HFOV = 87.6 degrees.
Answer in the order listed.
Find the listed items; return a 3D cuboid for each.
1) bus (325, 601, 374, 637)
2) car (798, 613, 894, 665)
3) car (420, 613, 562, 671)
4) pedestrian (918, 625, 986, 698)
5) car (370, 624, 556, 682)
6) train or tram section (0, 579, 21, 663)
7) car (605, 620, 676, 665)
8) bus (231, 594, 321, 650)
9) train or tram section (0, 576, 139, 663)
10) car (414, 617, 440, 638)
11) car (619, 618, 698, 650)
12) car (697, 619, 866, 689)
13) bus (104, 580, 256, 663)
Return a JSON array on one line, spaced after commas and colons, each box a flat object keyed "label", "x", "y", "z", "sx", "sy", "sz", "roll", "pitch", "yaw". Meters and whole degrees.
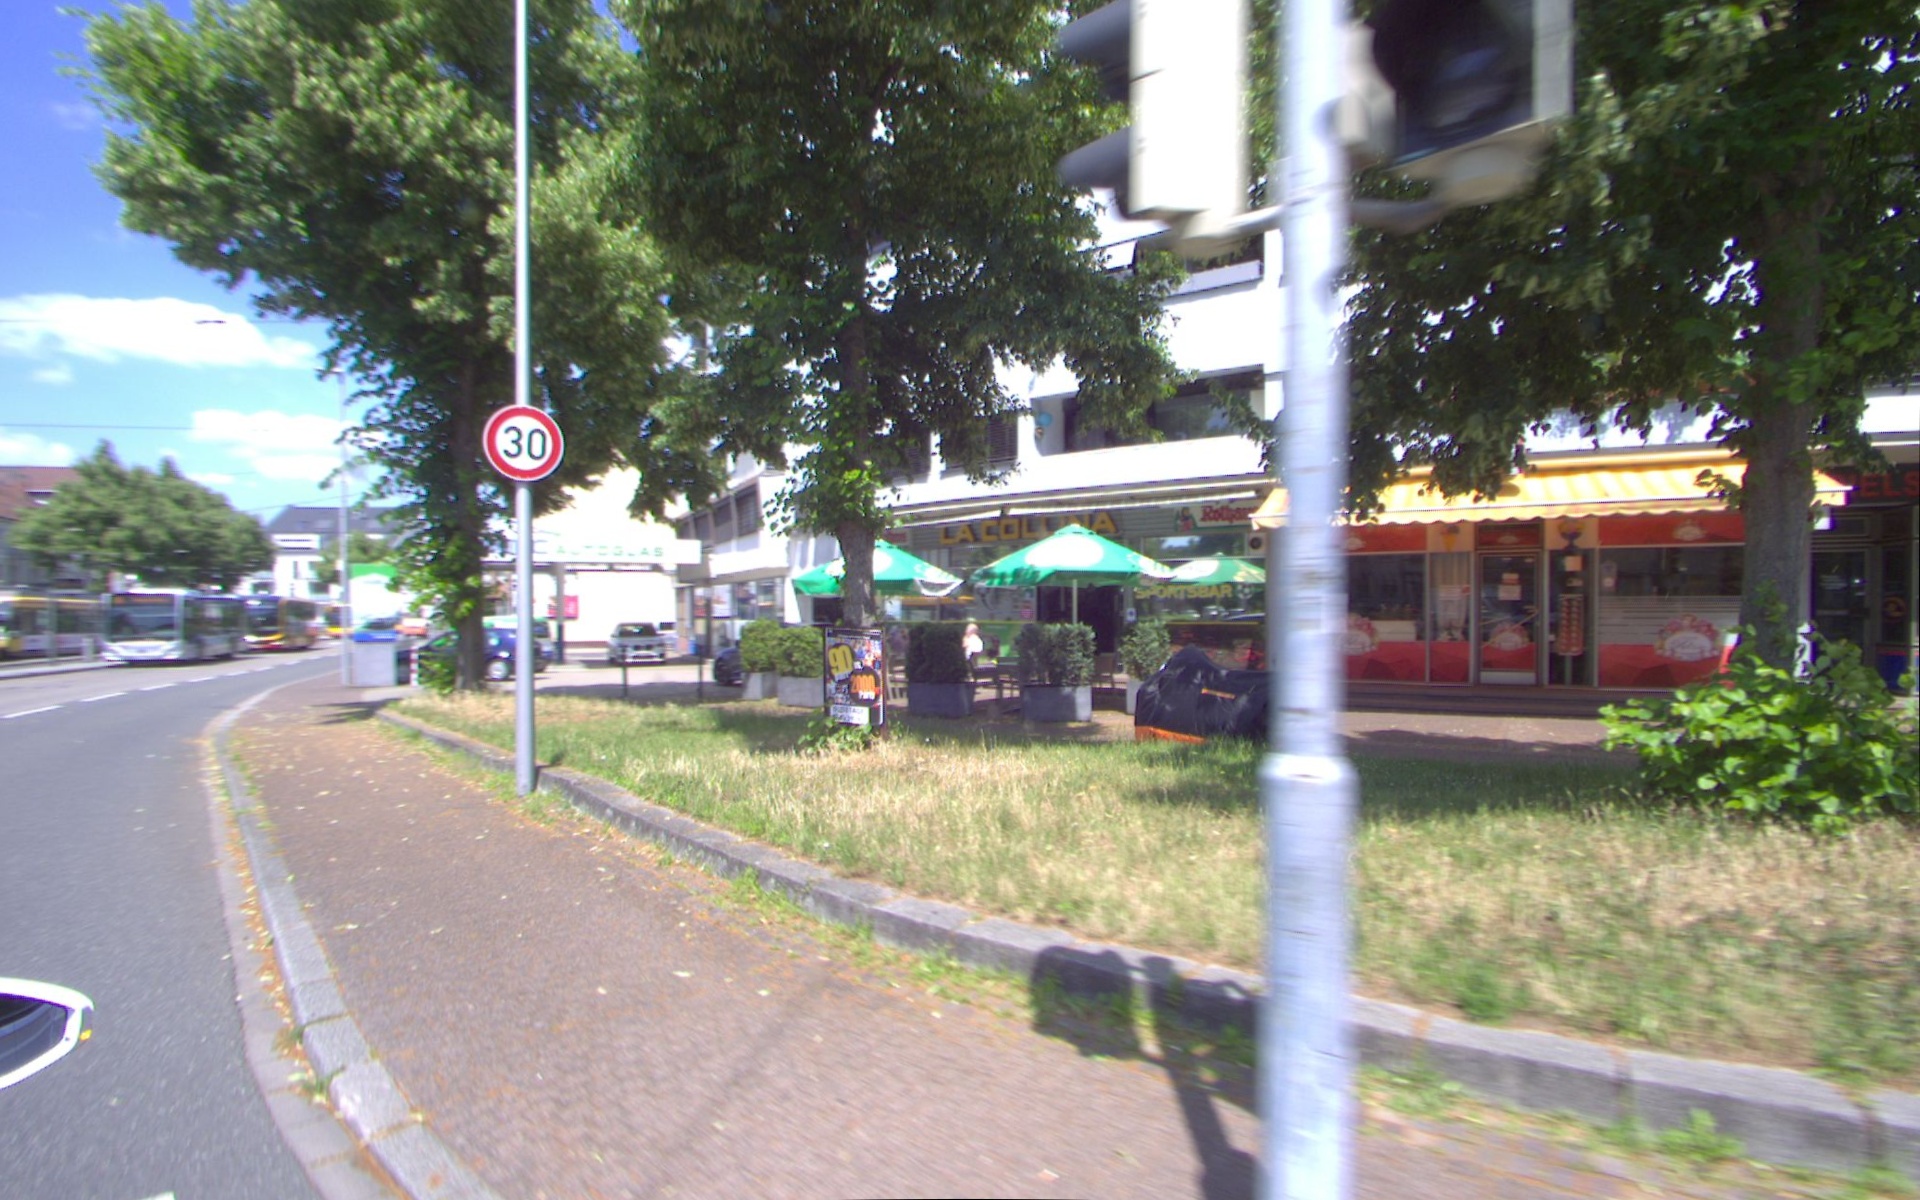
[{"label": "bus", "x": -57.428, "y": 1.822, "z": 94.382, "sx": 2.696, "sy": 3.260, "sz": 11.009, "roll": 0, "pitch": -1, "yaw": -25}, {"label": "car", "x": -3.885, "y": 1.279, "z": 33.402, "sx": 1.968, "sy": 1.605, "sz": 4.367, "roll": 0, "pitch": -1, "yaw": -24}, {"label": "car", "x": -15.206, "y": 1.359, "z": 32.526, "sx": 3.952, "sy": 1.817, "sz": 1.840, "roll": -1, "pitch": -1, "yaw": 16}, {"label": "pedestrian", "x": -0.153, "y": 1.124, "z": 18.717, "sx": 1.005, "sy": 1.322, "sz": 0.809, "roll": -1, "pitch": -1, "yaw": 42}, {"label": "car", "x": -13.425, "y": 1.408, "z": 27.257, "sx": 4.091, "sy": 1.458, "sz": 1.902, "roll": -1, "pitch": -1, "yaw": -3}, {"label": "train or tram section", "x": -40.360, "y": 0.765, "z": 37.688, "sx": 2.750, "sy": 3.614, "sz": 14.654, "roll": 0, "pitch": -1, "yaw": -25}, {"label": "car", "x": -12.239, "y": 1.594, "z": 38.160, "sx": 1.983, "sy": 1.616, "sz": 4.272, "roll": 1, "pitch": -2, "yaw": -26}, {"label": "bus", "x": -42.162, "y": 1.379, "z": 62.120, "sx": 2.696, "sy": 3.169, "sz": 11.965, "roll": 0, "pitch": -1, "yaw": -25}, {"label": "train or tram section", "x": -47.082, "y": 1.053, "z": 52.188, "sx": 2.750, "sy": 3.945, "sz": 15.497, "roll": 0, "pitch": -1, "yaw": -25}, {"label": "car", "x": -50.396, "y": 2.606, "z": 94.701, "sx": 1.785, "sy": 2.006, "sz": 3.987, "roll": 0, "pitch": -1, "yaw": -23}, {"label": "car", "x": -18.262, "y": 2.040, "z": 60.615, "sx": 4.256, "sy": 1.833, "sz": 1.989, "roll": 2, "pitch": 0, "yaw": -30}, {"label": "car", "x": -4.153, "y": 1.192, "z": 22.863, "sx": 1.691, "sy": 1.447, "sz": 4.322, "roll": 1, "pitch": -2, "yaw": -44}, {"label": "bus", "x": -34.215, "y": 0.984, "z": 44.516, "sx": 2.696, "sy": 3.169, "sz": 11.965, "roll": 0, "pitch": -1, "yaw": -25}]
